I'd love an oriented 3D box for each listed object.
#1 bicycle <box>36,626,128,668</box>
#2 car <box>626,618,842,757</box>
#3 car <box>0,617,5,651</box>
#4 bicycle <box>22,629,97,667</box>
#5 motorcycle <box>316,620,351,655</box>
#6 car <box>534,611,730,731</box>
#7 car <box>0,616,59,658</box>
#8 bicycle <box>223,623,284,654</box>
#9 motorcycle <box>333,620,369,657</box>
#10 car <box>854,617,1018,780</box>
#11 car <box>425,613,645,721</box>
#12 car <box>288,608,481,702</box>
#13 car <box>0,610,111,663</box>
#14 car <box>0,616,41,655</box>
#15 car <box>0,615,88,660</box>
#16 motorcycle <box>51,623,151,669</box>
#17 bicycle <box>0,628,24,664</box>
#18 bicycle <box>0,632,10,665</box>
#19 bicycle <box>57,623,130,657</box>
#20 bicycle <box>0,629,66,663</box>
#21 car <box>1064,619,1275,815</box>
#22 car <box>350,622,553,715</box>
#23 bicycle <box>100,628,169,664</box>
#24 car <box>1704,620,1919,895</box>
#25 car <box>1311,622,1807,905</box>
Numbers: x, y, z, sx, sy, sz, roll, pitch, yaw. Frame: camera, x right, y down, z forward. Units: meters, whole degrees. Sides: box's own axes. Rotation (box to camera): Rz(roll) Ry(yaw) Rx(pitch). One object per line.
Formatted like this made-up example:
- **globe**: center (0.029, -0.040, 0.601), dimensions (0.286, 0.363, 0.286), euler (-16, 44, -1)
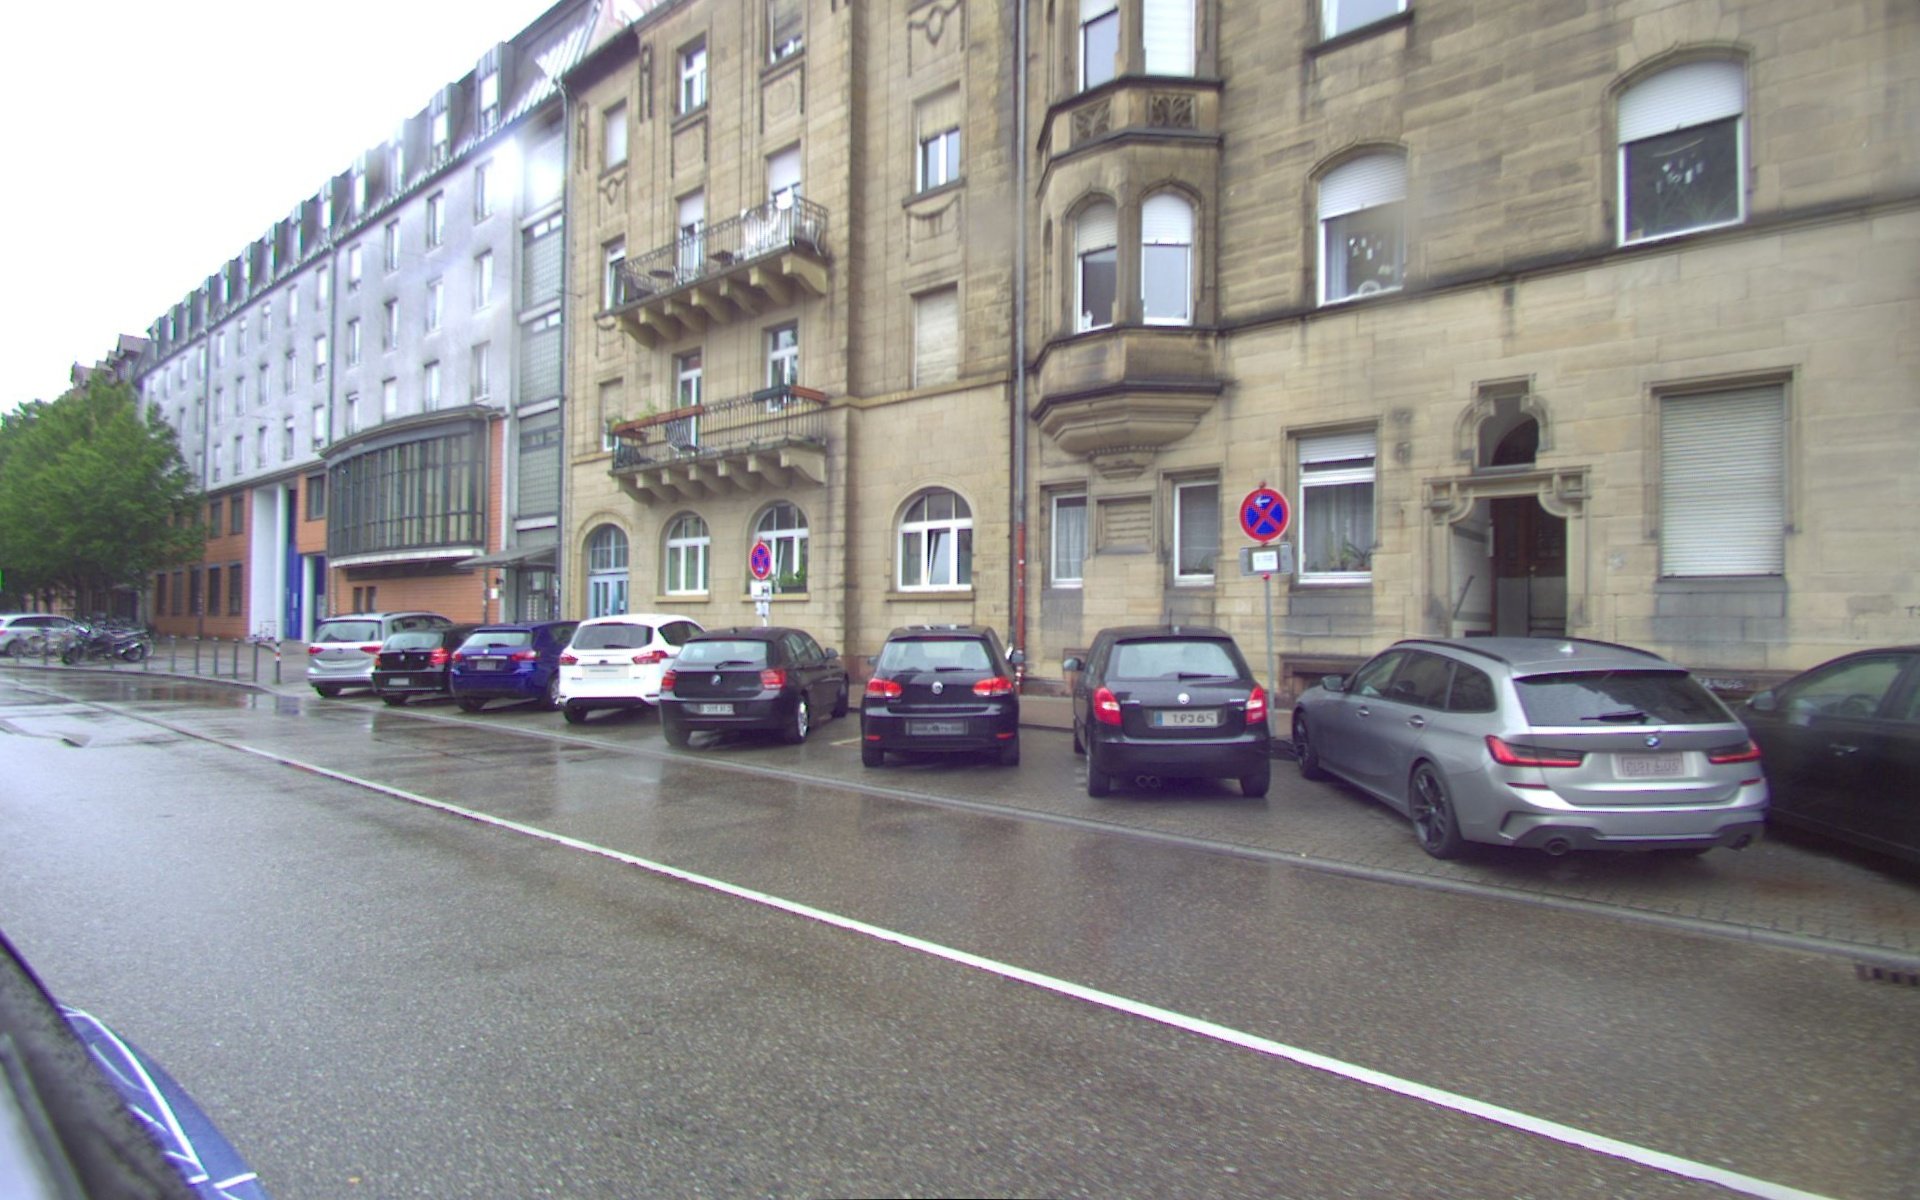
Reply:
- **bicycle**: center (-26.949, 1.422, 31.092), dimensions (0.772, 1.181, 2.024), euler (-1, 0, 37)
- **car**: center (-2.841, 1.048, 13.561), dimensions (1.757, 1.556, 3.721), euler (-1, 0, 6)
- **car**: center (-50.035, 1.644, 49.934), dimensions (1.992, 1.728, 3.762), euler (0, -3, 30)
- **bicycle**: center (-27.933, 1.468, 31.413), dimensions (0.544, 1.081, 1.667), euler (-1, 0, 37)
- **motorcycle**: center (-22.394, 1.339, 36.157), dimensions (1.676, 1.238, 0.539), euler (-1, -3, 41)
- **car**: center (-5.024, 1.014, 16.026), dimensions (1.755, 1.639, 3.724), euler (-1, 0, 3)
- **car**: center (-40.052, 1.520, 41.784), dimensions (1.992, 1.728, 3.762), euler (0, -3, 30)
- **bicycle**: center (-29.182, 1.591, 41.809), dimensions (1.873, 1.234, 0.939), euler (2, -3, -23)
- **motorcycle**: center (-21.072, 1.335, 34.987), dimensions (1.676, 1.238, 0.539), euler (-1, -3, 41)
- **car**: center (-0.220, 1.008, 11.925), dimensions (1.606, 1.556, 3.758), euler (-1, 0, 1)
- **car**: center (-7.267, 1.070, 17.728), dimensions (1.881, 1.539, 3.716), euler (1, 1, 10)
- **car**: center (-11.843, 1.126, 21.163), dimensions (1.791, 1.743, 3.923), euler (1, -2, -1)
- **car**: center (-33.912, 1.326, 36.989), dimensions (1.981, 1.828, 3.981), euler (1, -2, 14)
- **car**: center (-44.189, 1.576, 45.540), dimensions (1.992, 1.728, 3.762), euler (0, -3, 30)
- **car**: center (-37.396, 1.482, 40.166), dimensions (1.992, 1.728, 3.762), euler (0, -3, 30)
- **motorcycle**: center (-26.017, 1.365, 30.696), dimensions (0.758, 1.320, 2.226), euler (-1, -1, 41)
- **bicycle**: center (-30.075, 1.462, 31.217), dimensions (0.544, 1.081, 1.668), euler (-1, 3, 37)
- **bicycle**: center (-32.494, 1.575, 33.308), dimensions (0.544, 1.081, 1.667), euler (-1, -5, 37)
- **bicycle**: center (-27.912, 1.291, 32.623), dimensions (0.544, 1.081, 1.667), euler (-1, -3, 37)
- **bicycle**: center (-30.929, 1.529, 33.694), dimensions (0.544, 1.081, 1.667), euler (-1, -2, 37)
- **car**: center (1.901, 0.998, 10.081), dimensions (1.608, 1.556, 3.439), euler (-1, 0, 5)
- **car**: center (-9.463, 1.243, 19.204), dimensions (1.697, 1.539, 3.721), euler (1, -2, 5)
- **bicycle**: center (-26.744, 1.478, 32.809), dimensions (0.544, 1.081, 1.667), euler (-1, 0, 37)
- **car**: center (6.342, 0.917, 5.854), dimensions (1.678, 1.537, 3.308), euler (-1, 0, 2)
- **car**: center (4.043, 0.984, 7.553), dimensions (1.678, 1.556, 3.428), euler (-1, 0, 1)
